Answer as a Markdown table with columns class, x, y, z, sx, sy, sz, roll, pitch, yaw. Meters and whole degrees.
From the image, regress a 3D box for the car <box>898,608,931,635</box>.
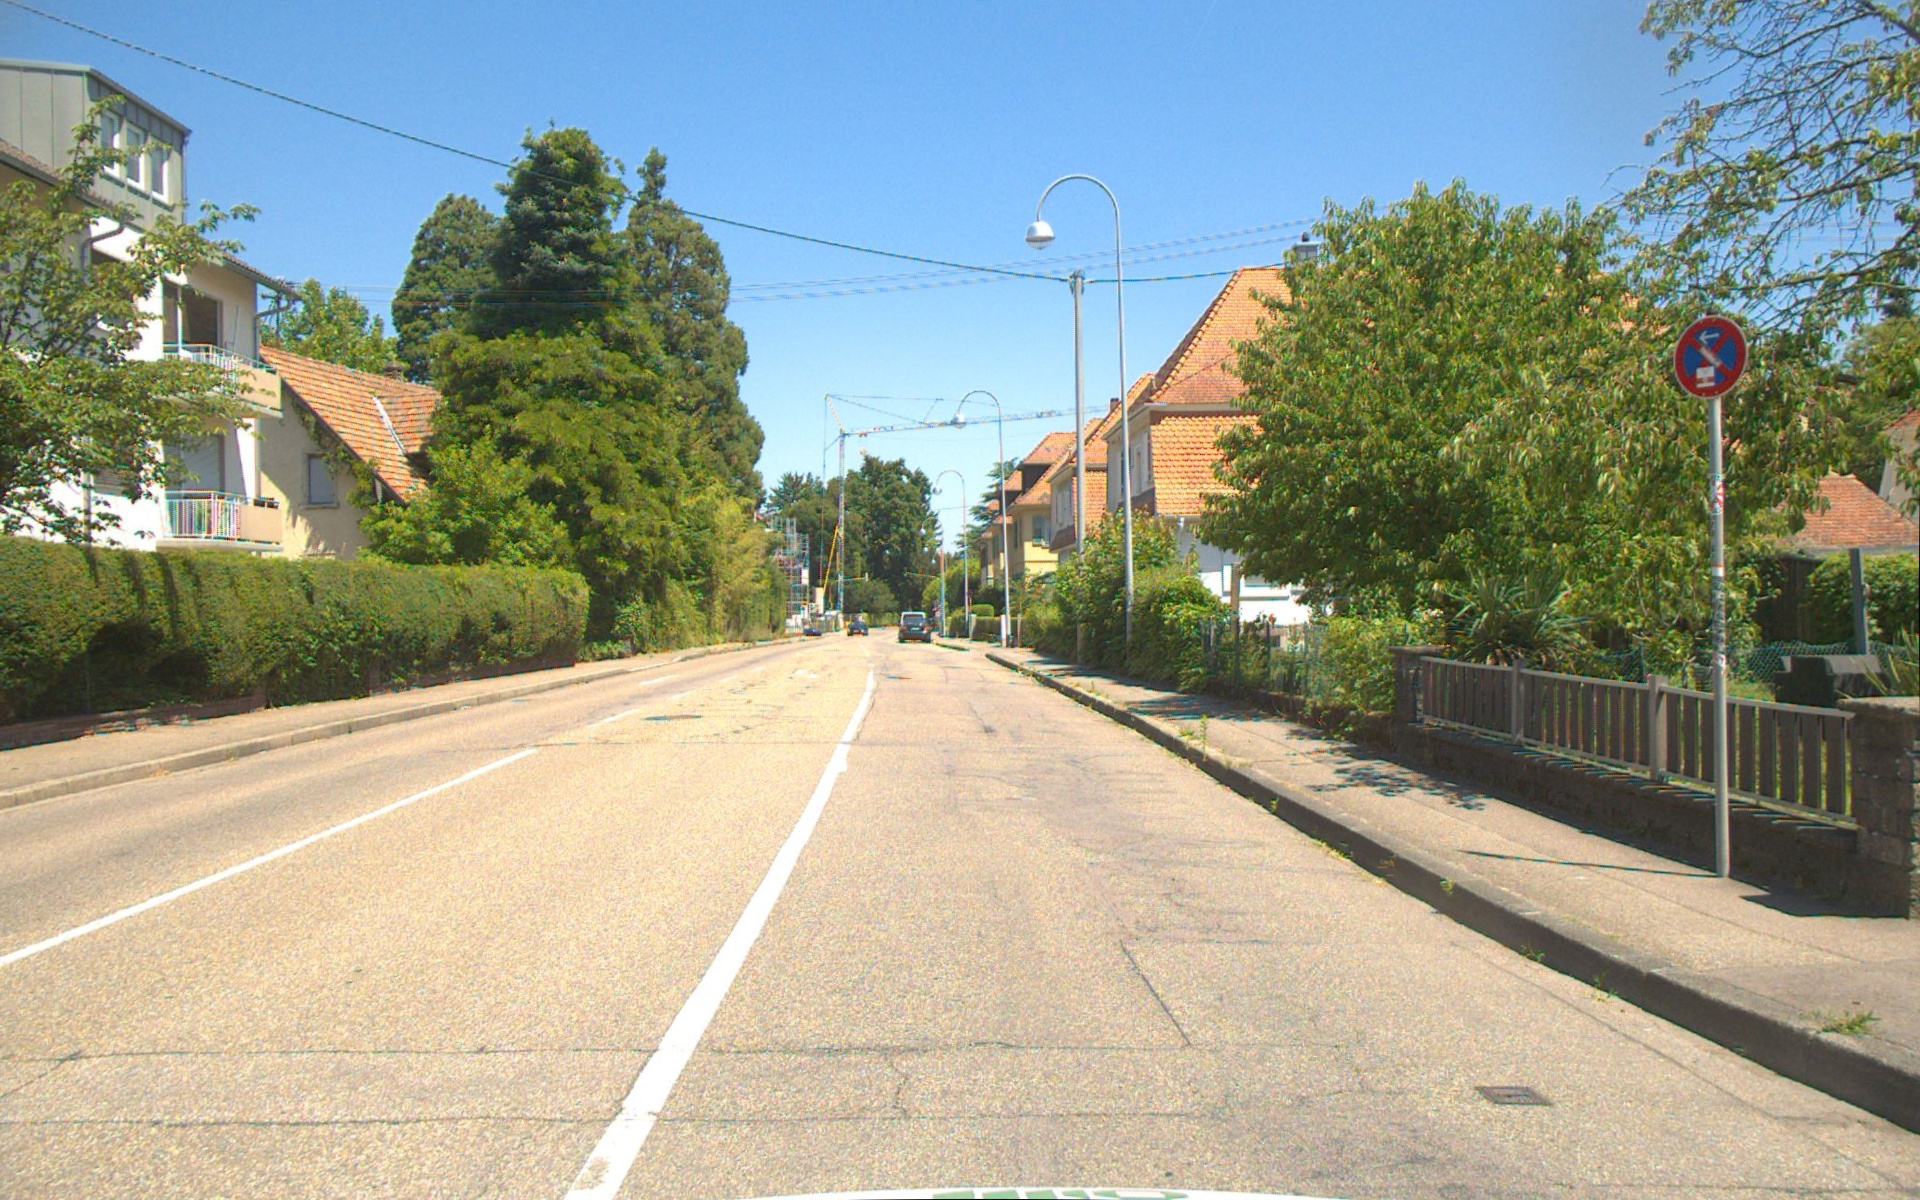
| class | x | y | z | sx | sy | sz | roll | pitch | yaw |
| --- | --- | --- | --- | --- | --- | --- | --- | --- | --- |
| car | -2.542 | 1.213 | 91.297 | 1.659 | 1.444 | 4.547 | 0 | -1 | -3 |

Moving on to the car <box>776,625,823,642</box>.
| class | x | y | z | sx | sy | sz | roll | pitch | yaw |
| --- | --- | --- | --- | --- | --- | --- | --- | --- | --- |
| car | -15.133 | 3.146 | 156.171 | 3.902 | 1.494 | 1.966 | -2 | 0 | 12 |

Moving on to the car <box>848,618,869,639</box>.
| class | x | y | z | sx | sy | sz | roll | pitch | yaw |
| --- | --- | --- | --- | --- | --- | --- | --- | --- | --- |
| car | -10.183 | 2.871 | 165.909 | 1.953 | 1.883 | 4.710 | -1 | 2 | -1 |
